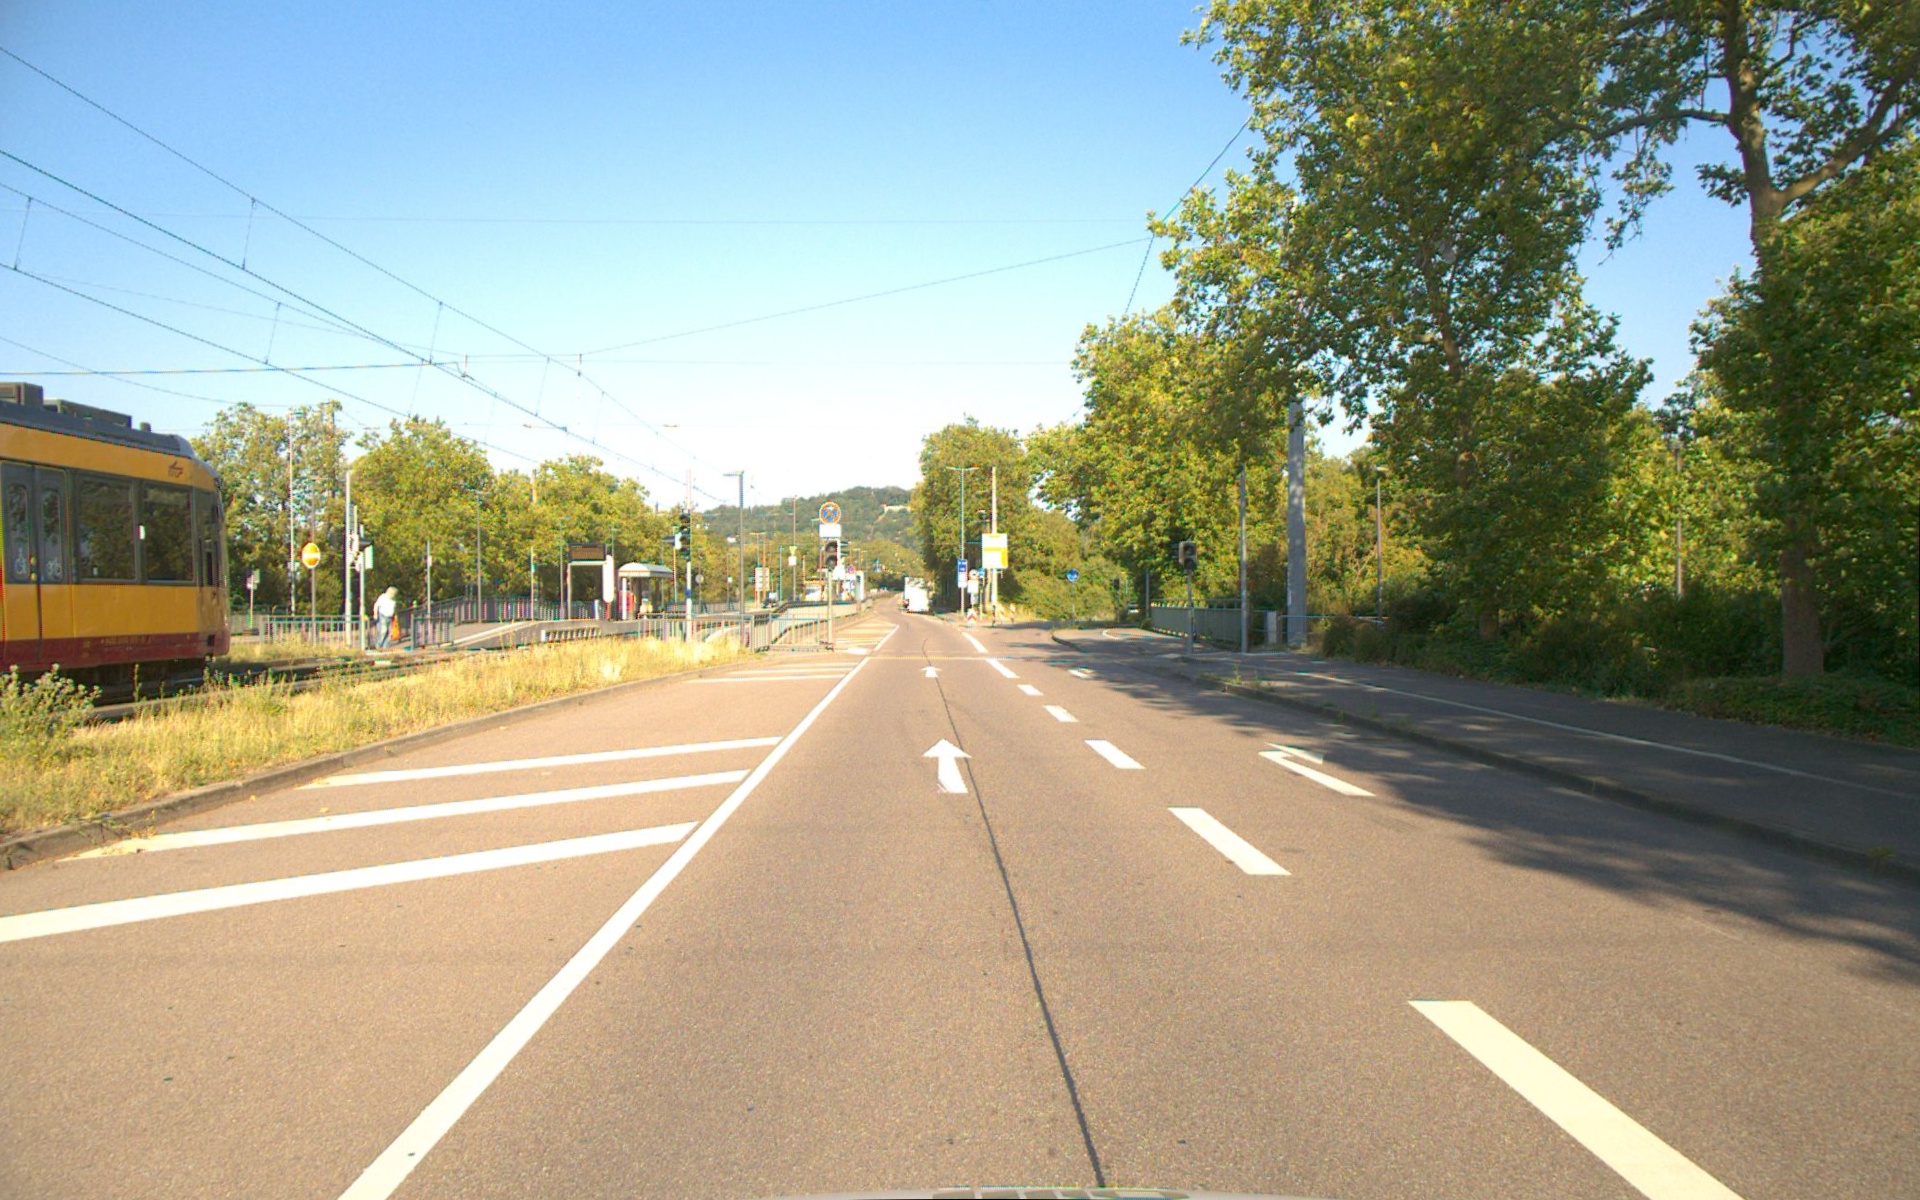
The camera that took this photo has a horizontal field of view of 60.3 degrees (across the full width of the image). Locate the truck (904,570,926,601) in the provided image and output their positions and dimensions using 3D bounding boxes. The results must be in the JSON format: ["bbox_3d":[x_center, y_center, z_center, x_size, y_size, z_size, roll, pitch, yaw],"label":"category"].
[{"bbox_3d":[-5.954,-1.900,216.904,2.687,3.849,10.084,1,0,-2],"label":"truck"}]

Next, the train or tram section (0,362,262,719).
[{"bbox_3d":[-12.243,-0.677,19.915,2.825,4.016,12.109,0,0,-1],"label":"train or tram section"}]

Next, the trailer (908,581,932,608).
[{"bbox_3d":[-4.056,-0.566,169.321,2.205,2.742,5.947,0,0,1],"label":"trailer"}]

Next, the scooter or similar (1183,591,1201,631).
[{"bbox_3d":[7.705,0.368,54.997,0.418,1.297,1.083,-1,0,-1],"label":"scooter or similar"}]

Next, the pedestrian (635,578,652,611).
[{"bbox_3d":[-17.134,-0.318,89.506,0.686,1.787,0.586,0,0,34],"label":"pedestrian"}]

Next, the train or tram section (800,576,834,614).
[{"bbox_3d":[-16.097,-0.563,186.773,2.770,4.076,15.871,1,0,-1],"label":"train or tram section"}]

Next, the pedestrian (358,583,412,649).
[{"bbox_3d":[-14.822,0.394,42.624,0.872,1.673,0.985,-1,0,28],"label":"pedestrian"}]

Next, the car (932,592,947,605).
[{"bbox_3d":[-2.377,-0.218,192.047,1.619,1.462,3.777,0,0,-1],"label":"car"}]
